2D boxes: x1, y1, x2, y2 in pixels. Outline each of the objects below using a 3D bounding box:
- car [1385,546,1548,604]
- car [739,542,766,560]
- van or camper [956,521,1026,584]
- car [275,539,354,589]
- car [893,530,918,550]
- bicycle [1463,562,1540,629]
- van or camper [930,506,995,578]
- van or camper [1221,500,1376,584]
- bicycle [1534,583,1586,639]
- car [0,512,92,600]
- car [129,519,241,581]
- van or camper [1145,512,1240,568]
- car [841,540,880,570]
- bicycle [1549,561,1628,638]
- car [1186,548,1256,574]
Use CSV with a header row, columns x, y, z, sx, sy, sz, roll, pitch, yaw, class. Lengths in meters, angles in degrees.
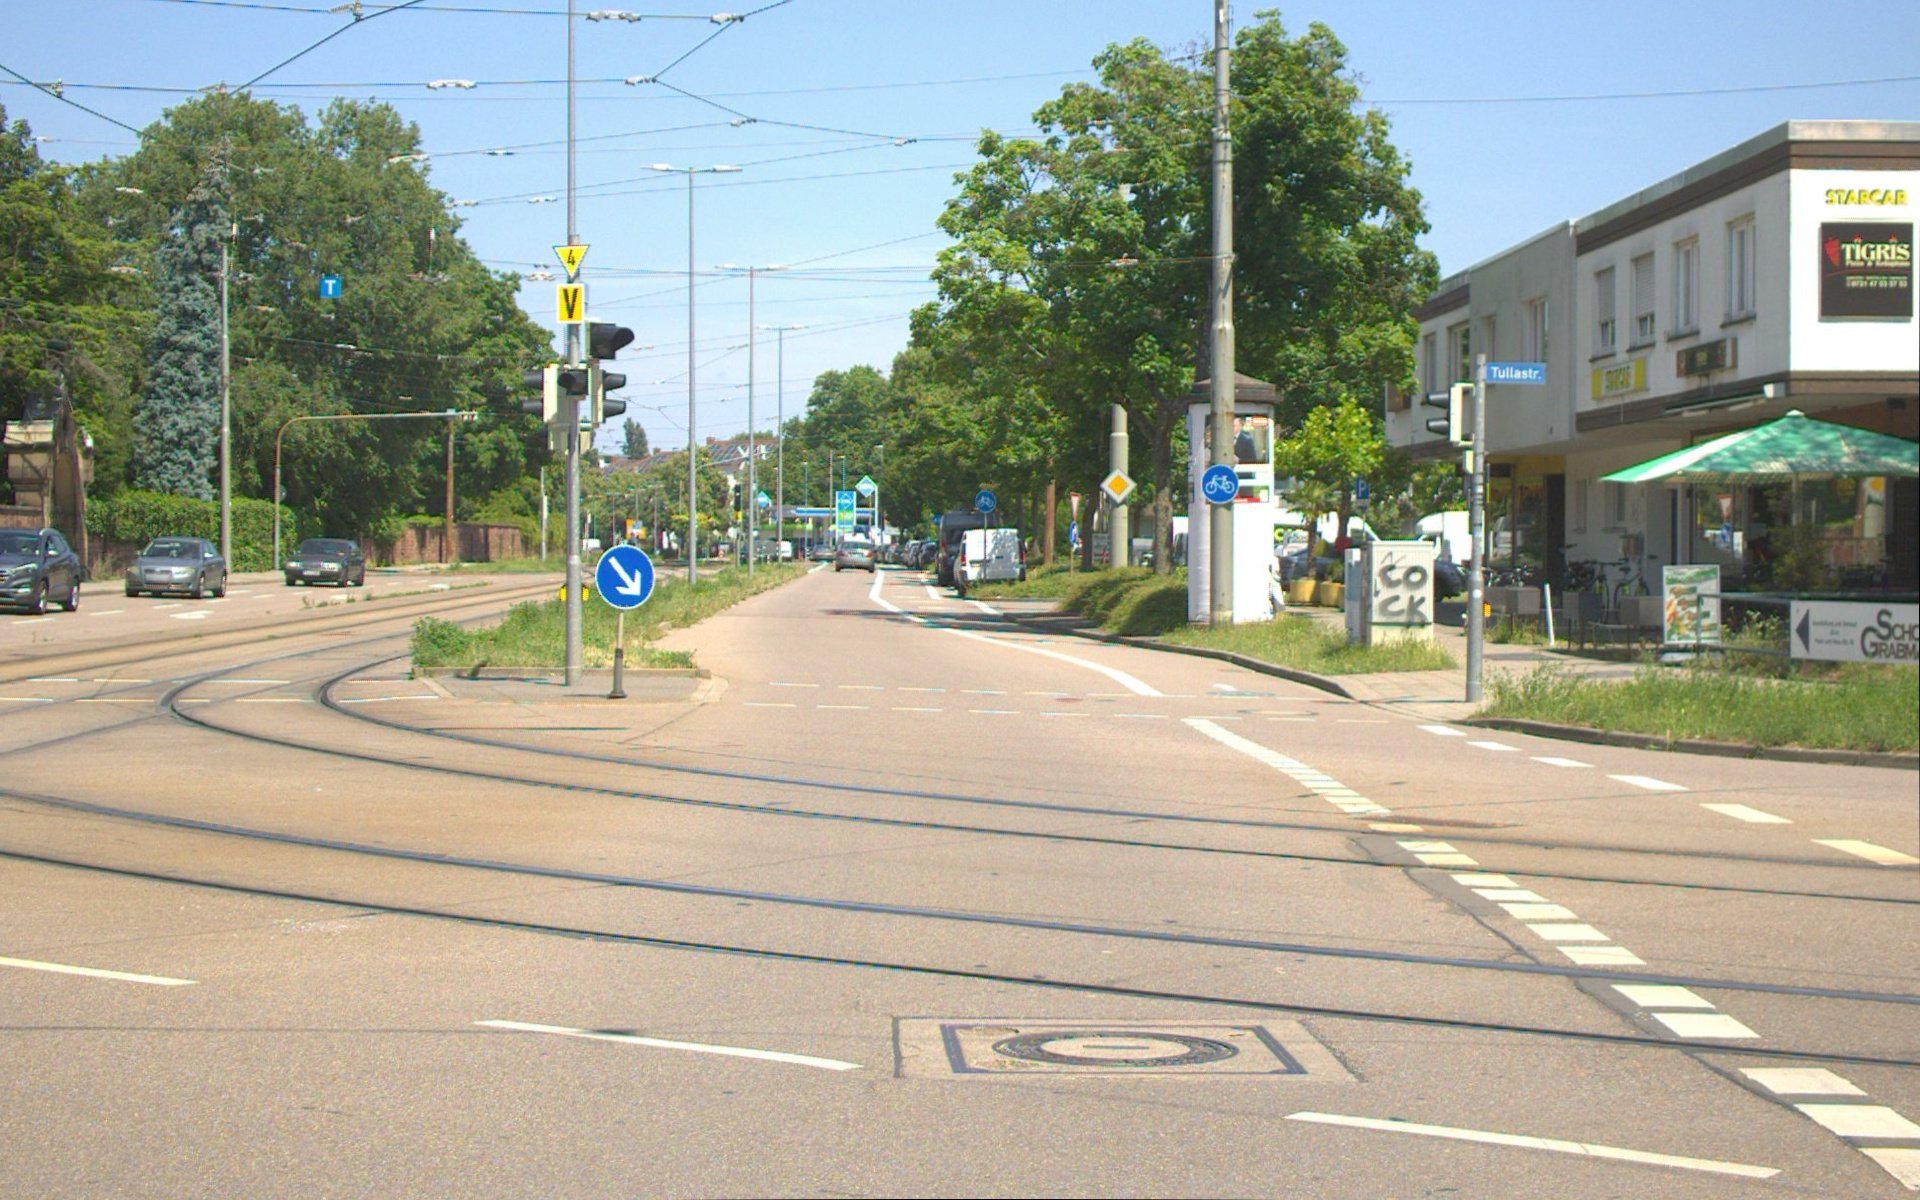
x,y,z,sx,sy,sz,roll,pitch,yaw,class
12.271,-0.608,83.370,3.606,1.346,1.491,1,1,-7,car
-12.765,-3.010,211.694,1.492,1.043,3.580,1,1,-2,car
0.874,-1.385,99.078,1.922,1.766,4.000,1,1,-1,van or camper
-19.141,-1.065,102.076,1.641,1.395,4.116,2,1,-2,car
-3.711,-4.087,234.078,1.523,1.292,3.493,1,1,-4,car
8.471,-0.077,53.883,1.034,1.011,2.636,1,1,6,bicycle
0.069,-2.049,121.248,1.993,2.456,4.001,1,1,-4,van or camper
11.036,-1.887,112.299,4.756,2.662,2.136,1,1,-3,van or camper
11.749,0.207,67.351,0.507,1.062,1.864,2,0,-5,bicycle
-18.198,-0.872,66.210,1.820,1.597,4.520,1,2,0,car
-18.409,-1.194,81.782,1.641,1.416,4.168,1,1,1,car
9.224,-2.381,136.488,3.557,2.138,1.603,1,1,-2,van or camper
-4.531,-2.065,156.752,1.636,1.346,3.842,1,1,-4,car
9.753,-0.025,53.461,0.989,1.160,2.636,1,1,6,bicycle
10.113,-1.500,133.238,2.587,0.959,1.149,1,1,0,car
